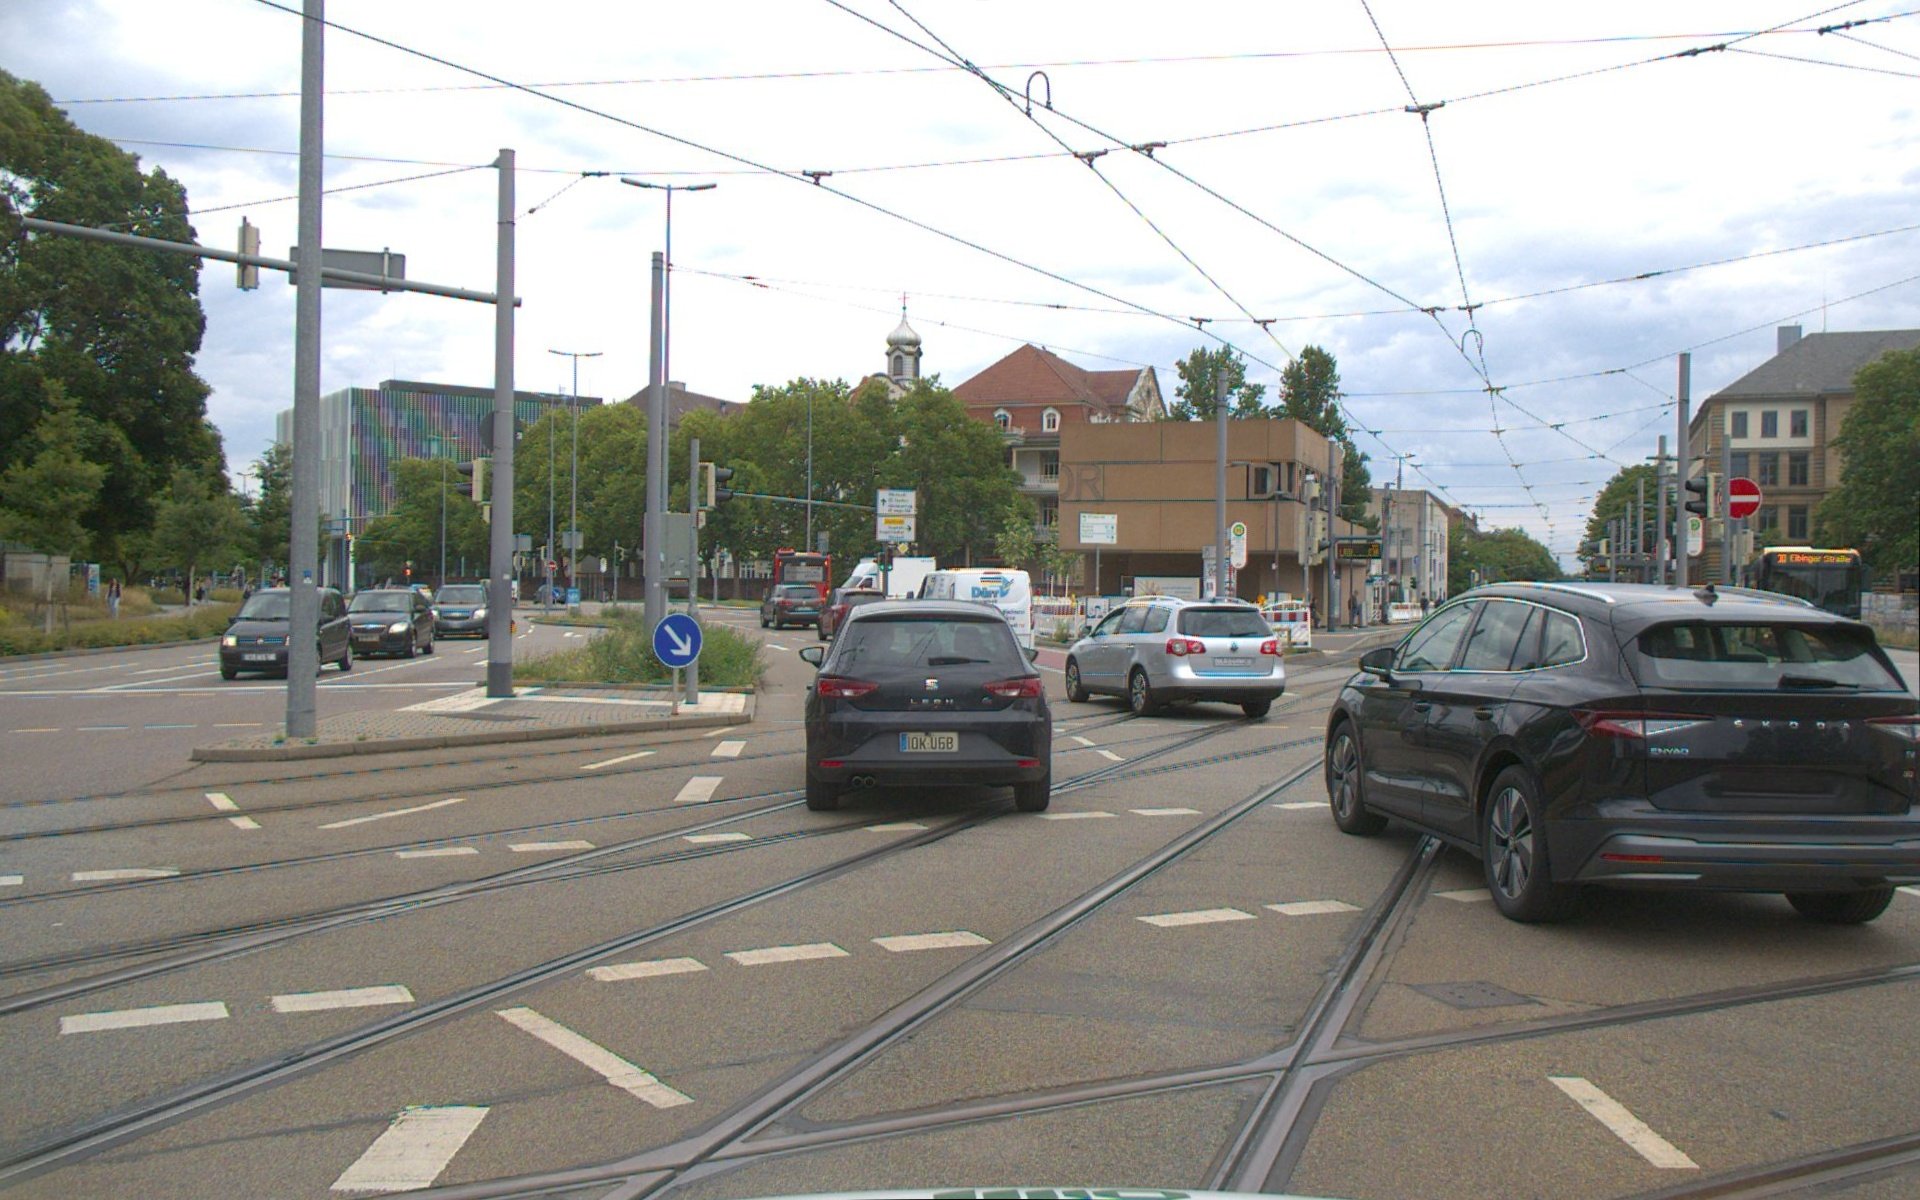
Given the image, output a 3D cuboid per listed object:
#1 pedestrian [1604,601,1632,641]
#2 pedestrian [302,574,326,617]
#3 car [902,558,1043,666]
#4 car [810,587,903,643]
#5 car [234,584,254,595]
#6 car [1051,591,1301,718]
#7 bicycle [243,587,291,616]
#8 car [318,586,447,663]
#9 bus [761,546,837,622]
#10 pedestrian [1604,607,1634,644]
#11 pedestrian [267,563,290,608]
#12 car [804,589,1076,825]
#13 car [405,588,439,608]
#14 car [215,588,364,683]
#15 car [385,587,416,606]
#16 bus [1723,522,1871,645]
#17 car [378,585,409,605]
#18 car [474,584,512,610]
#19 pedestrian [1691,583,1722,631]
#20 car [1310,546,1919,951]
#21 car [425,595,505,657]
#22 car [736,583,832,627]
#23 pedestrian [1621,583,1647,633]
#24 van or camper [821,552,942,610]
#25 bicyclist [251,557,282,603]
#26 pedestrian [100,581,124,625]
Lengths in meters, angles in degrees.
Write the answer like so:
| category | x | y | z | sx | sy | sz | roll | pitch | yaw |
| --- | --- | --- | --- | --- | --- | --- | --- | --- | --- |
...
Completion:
| category | x | y | z | sx | sy | sz | roll | pitch | yaw |
| --- | --- | --- | --- | --- | --- | --- | --- | --- | --- |
| pedestrian | 26.575 | 0.847 | 66.771 | 0.997 | 1.603 | 1.007 | 1 | 0 | 25 |
| pedestrian | -28.696 | -0.200 | 73.446 | 0.877 | 1.874 | 0.665 | 1 | 0 | -13 |
| car | 0.162 | 0.224 | 34.601 | 1.958 | 2.054 | 5.018 | 1 | 0 | -11 |
| car | -3.185 | 0.425 | 50.092 | 1.829 | 1.628 | 4.183 | 1 | 0 | -18 |
| car | -87.146 | -1.309 | 201.383 | 1.696 | 1.287 | 3.301 | 0 | 0 | -33 |
| car | 2.750 | 0.638 | 22.211 | 1.692 | 1.508 | 4.609 | 0 | 0 | -16 |
| bicycle | -28.465 | 0.061 | 67.988 | 0.772 | 1.179 | 1.907 | 1 | 0 | 17 |
| car | -12.549 | 0.489 | 36.214 | 1.836 | 1.534 | 4.470 | -1 | 0 | -9 |
| bus | -7.988 | -0.702 | 80.637 | 3.001 | 3.355 | 12.354 | 1 | 0 | -9 |
| pedestrian | 25.841 | 0.980 | 64.822 | 0.998 | 1.427 | 1.007 | 1 | 0 | 26 |
| pedestrian | -28.767 | -0.602 | 69.833 | 0.744 | 1.874 | 0.764 | 0 | 0 | -13 |
| car | -0.308 | 0.670 | 12.659 | 1.712 | 1.489 | 3.995 | -1 | 0 | -6 |
| car | -47.324 | -0.191 | 145.462 | 1.975 | 1.668 | 3.955 | 0 | 0 | -32 |
| car | -11.648 | 0.569 | 28.938 | 1.588 | 1.542 | 3.657 | 0 | 0 | -9 |
| car | -54.774 | -0.354 | 161.798 | 1.975 | 1.780 | 3.954 | 0 | 0 | -33 |
| bus | 25.625 | -0.421 | 51.212 | 2.955 | 3.325 | 13.040 | 1 | 0 | 22 |
| car | -52.634 | -0.495 | 153.671 | 1.974 | 1.711 | 3.968 | 0 | 2 | -31 |
| car | -36.890 | -0.248 | 130.600 | 1.974 | 2.049 | 3.957 | 0 | 0 | -31 |
| pedestrian | 26.414 | 0.247 | 58.521 | 0.984 | 1.673 | 1.020 | 1 | 0 | 26 |
| car | 3.488 | 0.624 | 9.221 | 1.865 | 1.687 | 4.511 | 1 | 0 | -3 |
| car | -14.996 | 0.743 | 50.311 | 1.837 | 1.755 | 4.700 | 0 | 0 | -11 |
| car | -6.740 | 0.192 | 62.932 | 1.975 | 1.593 | 4.156 | 1 | 0 | -33 |
| pedestrian | 25.035 | 0.283 | 61.436 | 0.807 | 1.840 | 1.020 | 1 | 0 | 26 |
| van or camper | -4.783 | -1.109 | 101.598 | 7.068 | 3.390 | 2.842 | 1 | -1 | -35 |
| bicyclist | -28.477 | -0.813 | 67.922 | 0.773 | 1.876 | 0.834 | 1 | 0 | 16 |
| pedestrian | -30.682 | 0.102 | 59.858 | 0.552 | 1.568 | 0.752 | 1 | 0 | -14 |
